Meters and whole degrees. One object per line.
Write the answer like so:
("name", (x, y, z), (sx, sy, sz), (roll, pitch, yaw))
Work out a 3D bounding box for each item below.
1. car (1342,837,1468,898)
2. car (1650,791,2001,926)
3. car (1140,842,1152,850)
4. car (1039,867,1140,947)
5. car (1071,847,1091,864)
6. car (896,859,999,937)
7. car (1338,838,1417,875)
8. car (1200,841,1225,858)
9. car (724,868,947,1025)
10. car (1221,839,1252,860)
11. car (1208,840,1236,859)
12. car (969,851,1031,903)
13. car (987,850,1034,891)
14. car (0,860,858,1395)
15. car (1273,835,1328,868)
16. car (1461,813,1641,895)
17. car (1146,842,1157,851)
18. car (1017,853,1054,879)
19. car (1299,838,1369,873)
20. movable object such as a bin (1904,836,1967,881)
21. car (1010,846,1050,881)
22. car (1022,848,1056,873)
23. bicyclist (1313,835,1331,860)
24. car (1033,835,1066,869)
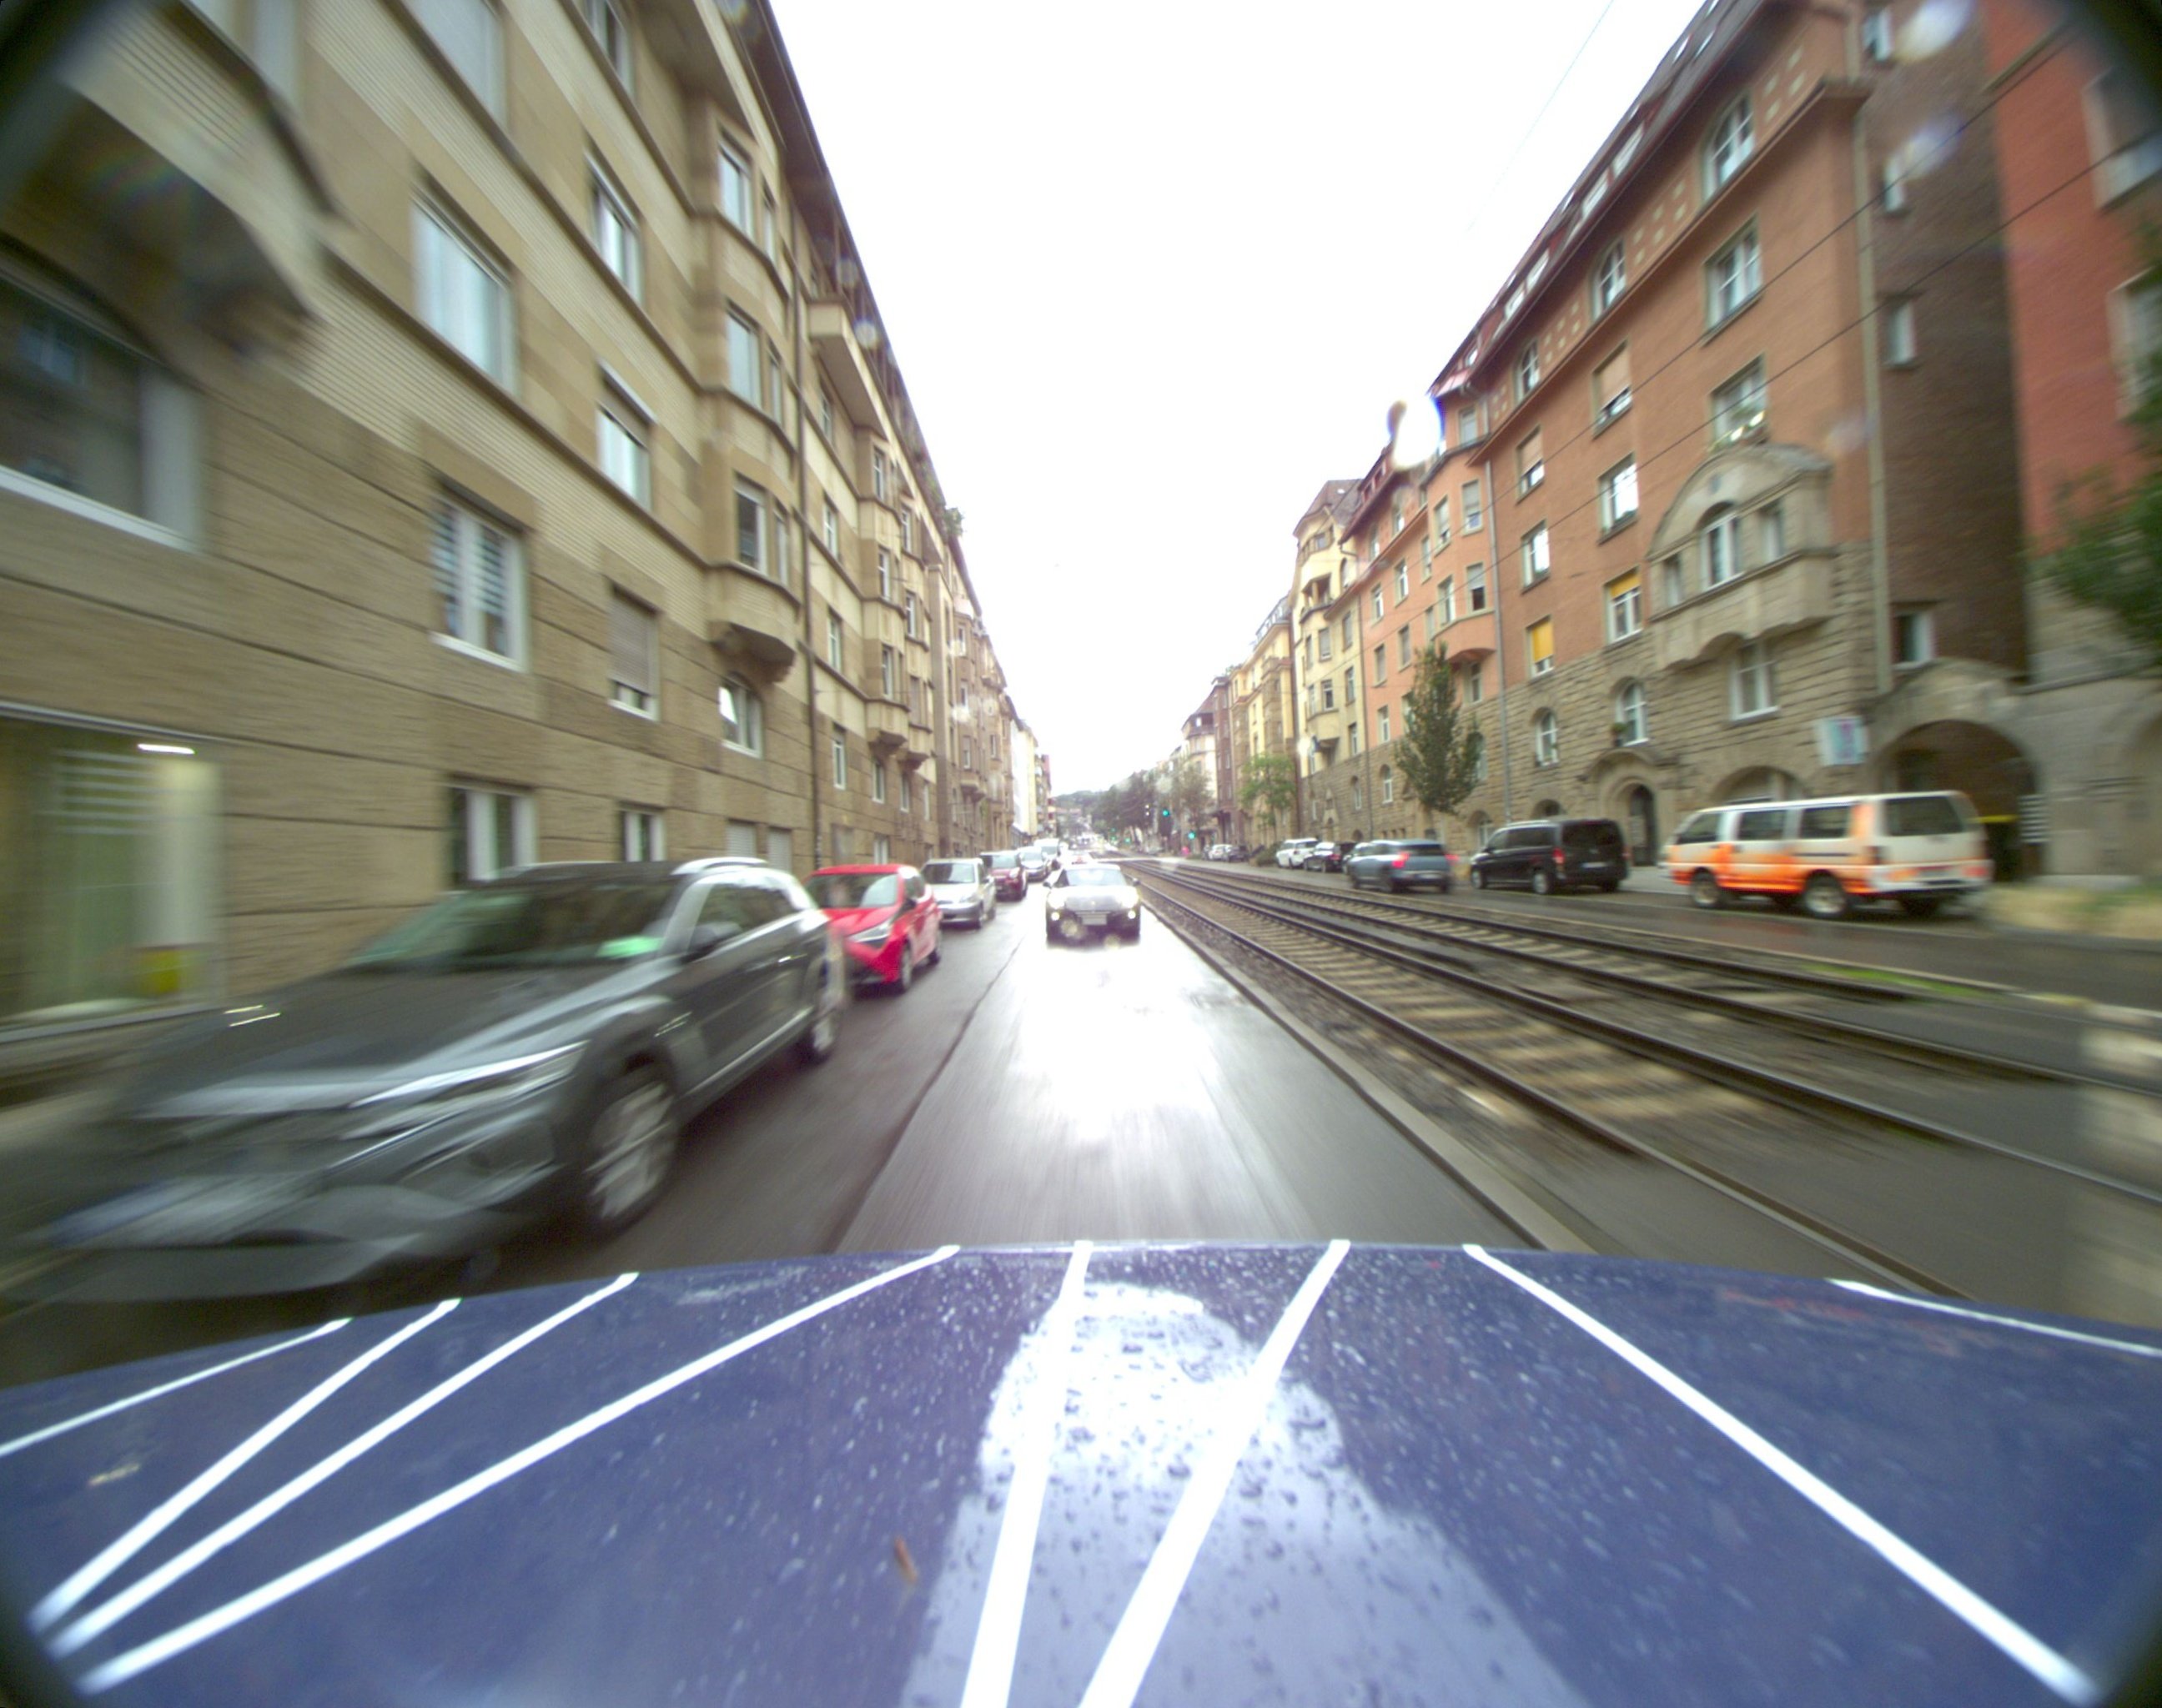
("car", (9.587, 0.322, 22.878), (1.926, 1.608, 4.127), (-2, 1, -1))
("car", (12.557, 0.024, 13.341), (1.733, 1.919, 4.474), (-2, 1, -1))
("car", (11.824, -1.472, 138.050), (1.794, 1.339, 4.256), (-2, 1, 0))
("car", (0.175, 0.955, 15.201), (1.737, 1.262, 4.257), (0, 0, 1))
("car", (0.042, 0.116, 73.157), (1.794, 1.459, 4.257), (-2, 1, 1))
("car", (-2.876, 0.899, 16.996), (1.598, 1.478, 3.521), (-1, 1, 1))
("car", (12.704, 0.062, 32.779), (1.760, 1.396, 3.693), (-4, 1, -2))
("car", (12.558, -0.414, 72.842), (1.759, 1.419, 3.712), (-5, 1, 2))
("car", (-2.852, 0.987, 9.655), (1.710, 1.445, 3.531), (-3, 1, -2))
("car", (12.666, -0.374, 62.002), (1.717, 1.474, 3.712), (-5, 1, 2))
("car", (12.589, -0.434, 68.030), (1.759, 1.443, 4.043), (-5, 1, 2))
("car", (-2.727, 0.734, 26.368), (1.774, 1.592, 3.999), (-1, 1, -1))
("car", (-2.946, 0.654, 32.210), (1.632, 1.502, 3.530), (-3, 1, -1))
("car", (-2.869, 0.893, 4.383), (1.872, 1.540, 3.990), (-3, 1, 1))
("car", (12.459, -0.167, 43.346), (1.759, 1.663, 4.258), (-5, 1, 0))
("car", (12.514, -0.042, 20.688), (1.910, 1.919, 4.831), (-2, 1, 0))
("car", (13.910, -1.494, 149.414), (1.794, 1.610, 4.256), (-2, 1, 0))
("car", (-2.702, 0.698, 46.038), (1.931, 1.380, 3.981), (-3, 1, 1))
("car", (12.451, 0.025, 37.685), (1.760, 1.482, 4.596), (-4, 1, -1))
("movable object such as a bin", (17.447, 0.086, 15.531), (0.547, 0.893, 0.656), (-2, 2, 4))
("car", (-2.721, 0.461, 41.218), (1.811, 1.759, 3.961), (-2, 1, 1))
("car", (-2.794, 0.399, 51.176), (1.935, 1.516, 4.058), (-3, 1, 1))
("bicyclist", (15.418, -0.433, 48.564), (0.894, 1.592, 0.774), (-2, 2, 0))
("car", (-2.512, -0.202, 62.191), (1.991, 2.520, 6.154), (-3, 1, 3))
